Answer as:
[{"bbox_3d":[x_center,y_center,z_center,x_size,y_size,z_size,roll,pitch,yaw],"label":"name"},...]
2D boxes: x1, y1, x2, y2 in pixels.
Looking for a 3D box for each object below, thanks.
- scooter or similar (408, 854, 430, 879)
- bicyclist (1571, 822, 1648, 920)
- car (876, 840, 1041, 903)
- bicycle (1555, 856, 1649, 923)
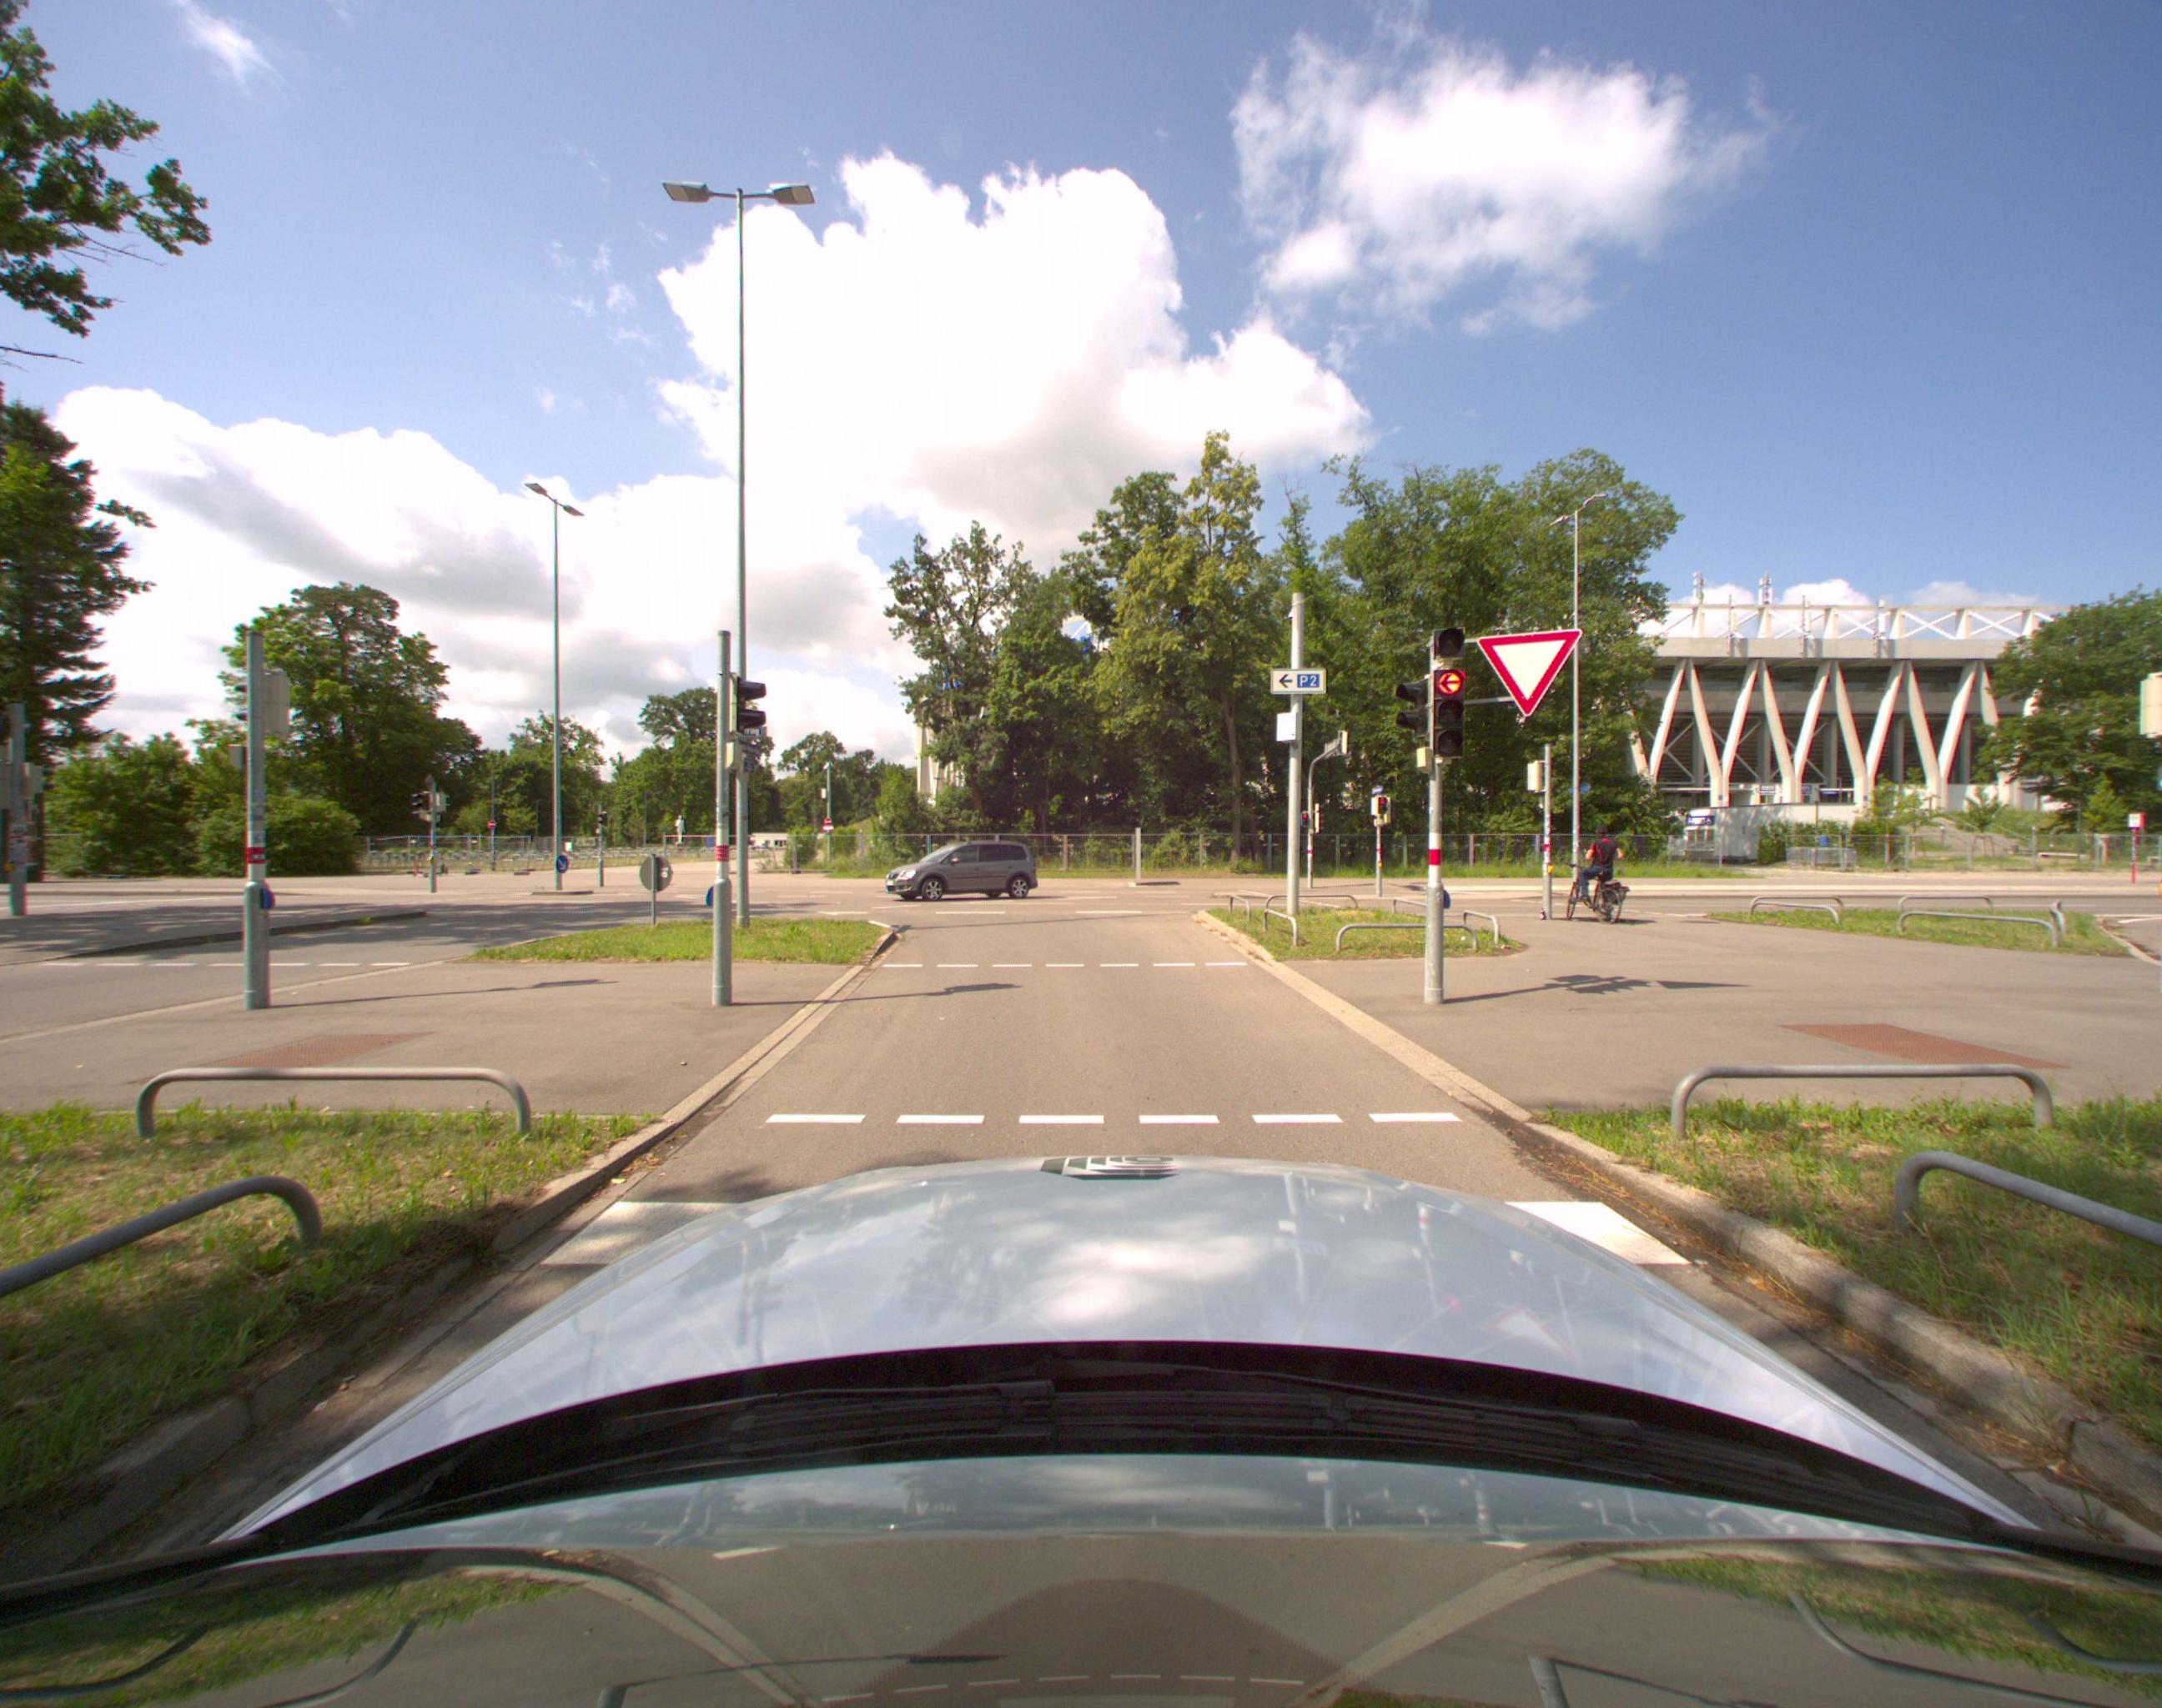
[{"bbox_3d":[-32.408,0.598,39.881,1.295,1.200,0.410,0,1,31],"label":"scooter or similar"},{"bbox_3d":[9.942,0.316,15.354,0.879,1.798,0.981,-1,-1,10],"label":"bicyclist"},{"bbox_3d":[-3.457,0.429,23.262,4.316,1.629,1.748,-1,1,-34],"label":"car"},{"bbox_3d":[9.961,0.642,15.666,0.875,1.206,1.903,-1,-1,11],"label":"bicycle"}]
